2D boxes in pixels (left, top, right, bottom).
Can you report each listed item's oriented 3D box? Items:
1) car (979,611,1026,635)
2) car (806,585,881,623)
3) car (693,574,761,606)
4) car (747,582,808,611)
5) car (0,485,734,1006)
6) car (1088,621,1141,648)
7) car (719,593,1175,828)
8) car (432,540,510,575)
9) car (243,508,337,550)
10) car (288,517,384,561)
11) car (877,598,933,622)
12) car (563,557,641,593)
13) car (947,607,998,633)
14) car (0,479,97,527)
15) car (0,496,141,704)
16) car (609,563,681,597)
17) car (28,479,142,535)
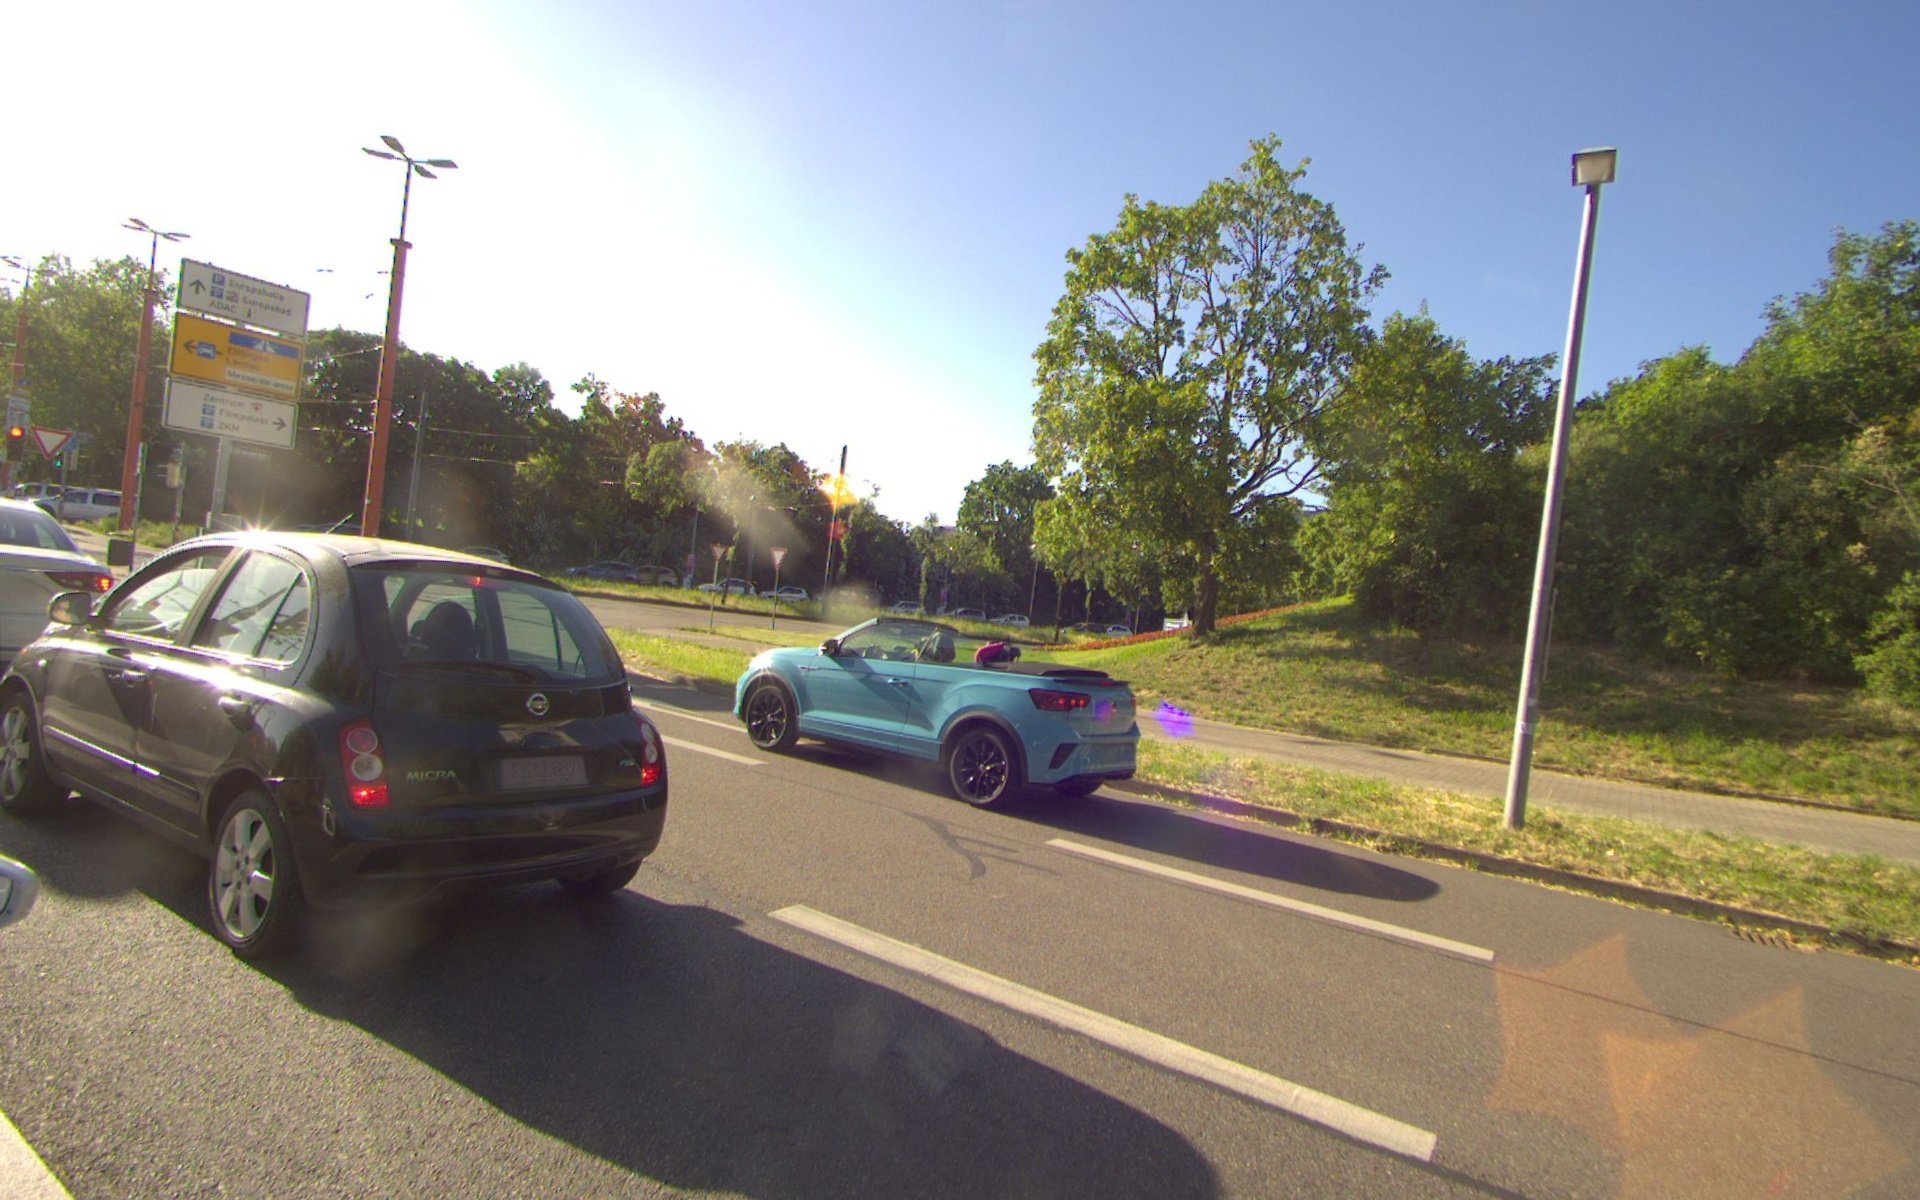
[{"bbox_3d":[3.379,1.812,79.600,3.413,1.384,1.280,9,-2,-31],"label":"car"},{"bbox_3d":[-8.040,0.265,69.319,4.531,2.038,1.987,8,0,-27],"label":"car"},{"bbox_3d":[-15.044,-0.619,64.976,3.790,1.541,1.682,8,-1,-30],"label":"car"},{"bbox_3d":[-12.680,-0.218,69.925,3.710,1.491,1.587,8,-1,-32],"label":"car"},{"bbox_3d":[-3.044,0.432,4.833,3.555,1.518,1.657,7,-2,32],"label":"car"},{"bbox_3d":[13.084,2.941,85.180,4.195,1.701,1.690,8,-1,-29],"label":"car"},{"bbox_3d":[-0.241,0.920,9.718,4.068,1.468,1.734,7,0,36],"label":"car"},{"bbox_3d":[-29.069,-2.520,59.823,3.937,1.457,1.674,9,-2,-31],"label":"car"},{"bbox_3d":[-36.675,-3.847,55.231,4.095,1.528,1.808,9,-2,-32],"label":"car"},{"bbox_3d":[-33.262,-3.217,53.727,4.152,1.663,1.745,9,-2,-32],"label":"car"},{"bbox_3d":[-4.132,0.746,75.526,3.804,1.278,1.590,9,-3,-32],"label":"car"},{"bbox_3d":[-21.708,-1.515,60.989,4.089,1.617,1.814,8,-1,-31],"label":"car"},{"bbox_3d":[0.955,1.489,74.397,3.369,1.475,1.453,8,-1,-31],"label":"car"},{"bbox_3d":[-45.606,-4.815,50.076,3.620,1.674,1.666,9,-2,-33],"label":"car"},{"bbox_3d":[-8.543,-0.206,8.134,4.130,1.454,1.723,7,-1,33],"label":"car"},{"bbox_3d":[-20.671,-1.322,66.030,4.088,1.663,1.839,8,-1,-29],"label":"car"},{"bbox_3d":[-42.067,-4.426,48.494,3.812,1.911,1.747,9,-2,-36],"label":"car"}]
